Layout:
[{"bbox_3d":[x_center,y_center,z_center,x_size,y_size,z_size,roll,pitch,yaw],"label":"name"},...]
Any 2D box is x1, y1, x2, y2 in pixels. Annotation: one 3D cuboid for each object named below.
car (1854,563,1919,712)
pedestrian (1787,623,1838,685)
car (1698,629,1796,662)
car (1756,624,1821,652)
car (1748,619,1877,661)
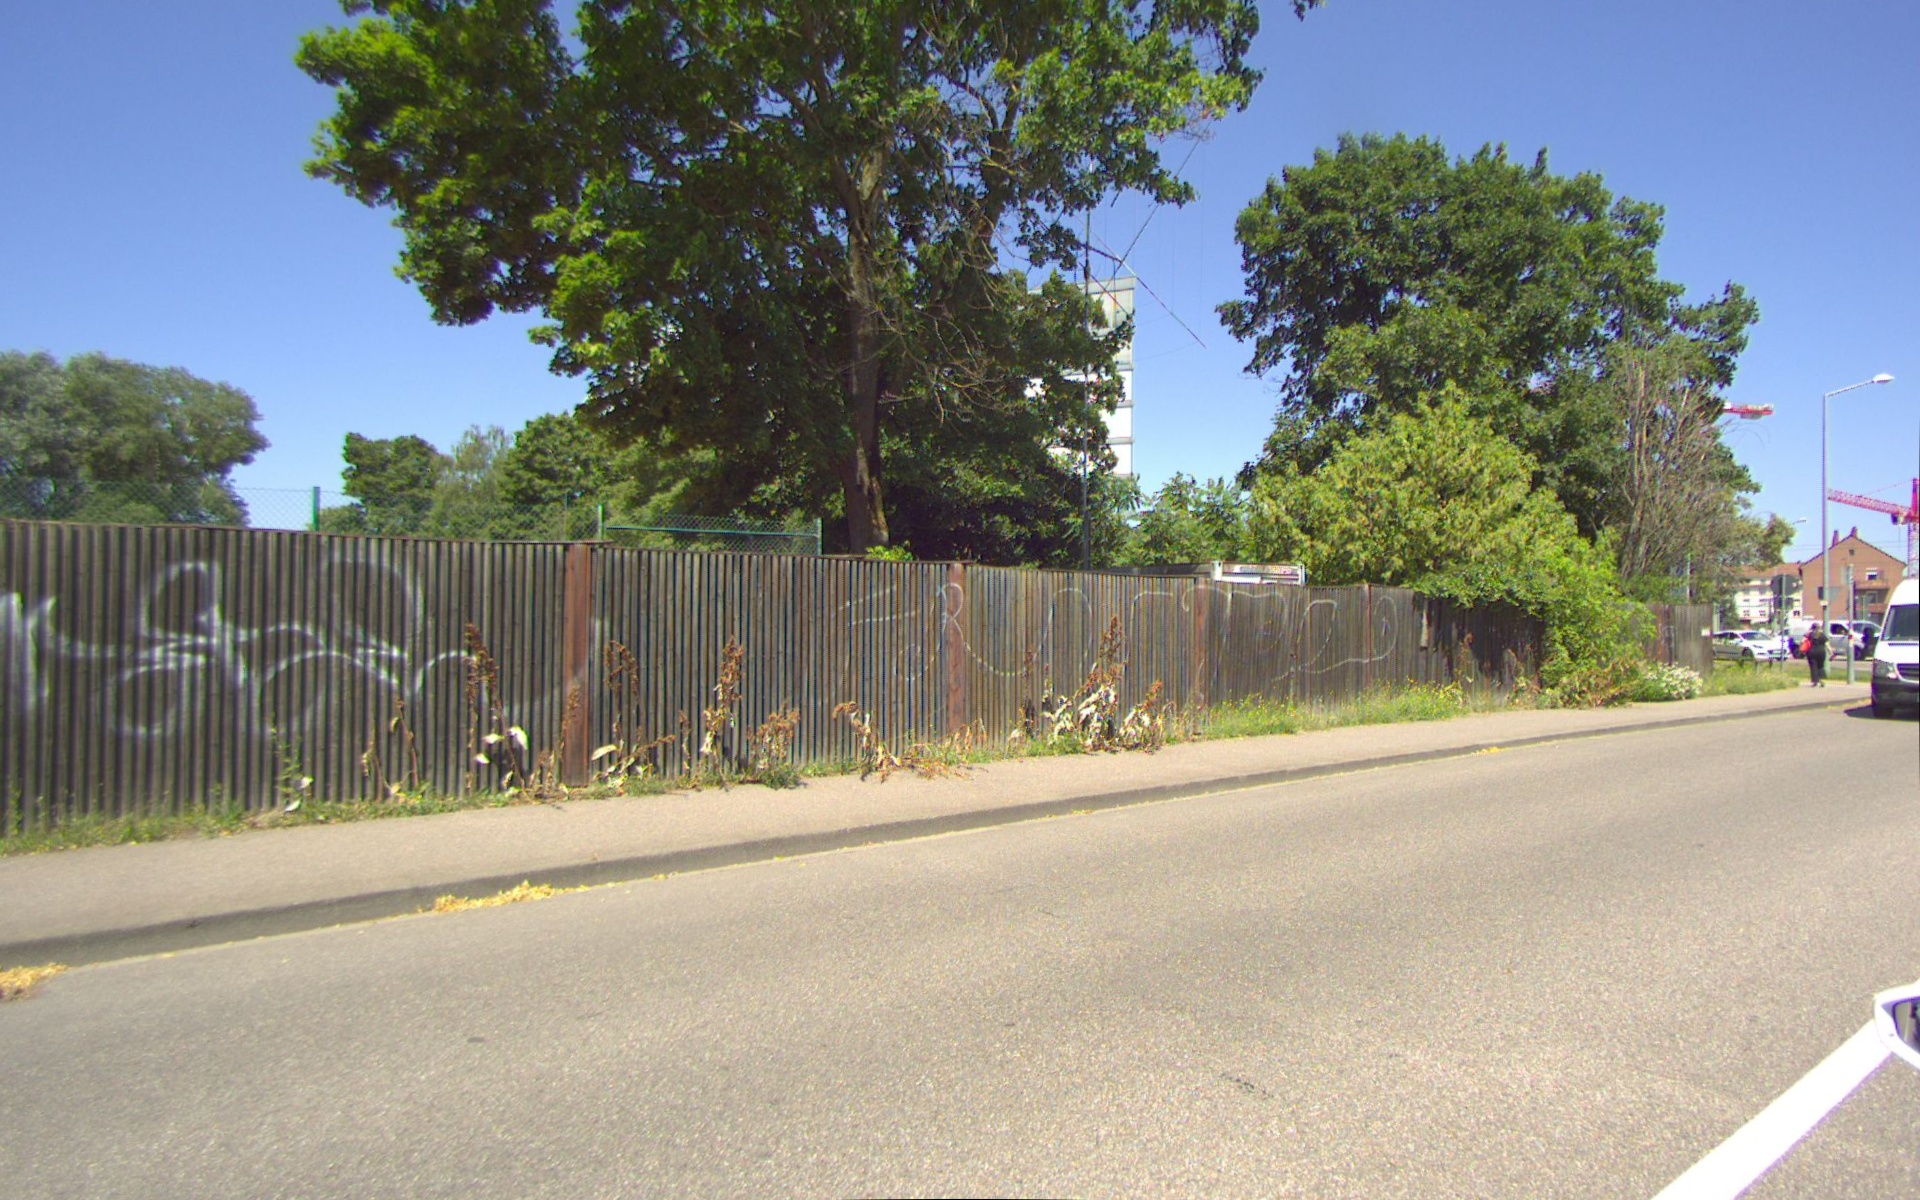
[{"bbox_3d":[19.242,0.725,19.340,6.770,2.572,2.004,2,-2,-40],"label":"car"},{"bbox_3d":[22.417,1.398,26.422,0.868,1.584,0.803,1,0,-34],"label":"pedestrian"},{"bbox_3d":[38.744,2.228,49.572,1.601,1.463,4.021,1,-1,-1],"label":"car"},{"bbox_3d":[49.757,2.269,60.322,3.953,1.570,1.748,1,-1,-30],"label":"car"},{"bbox_3d":[41.423,1.886,49.001,1.961,1.874,4.985,1,-1,-2],"label":"car"}]
